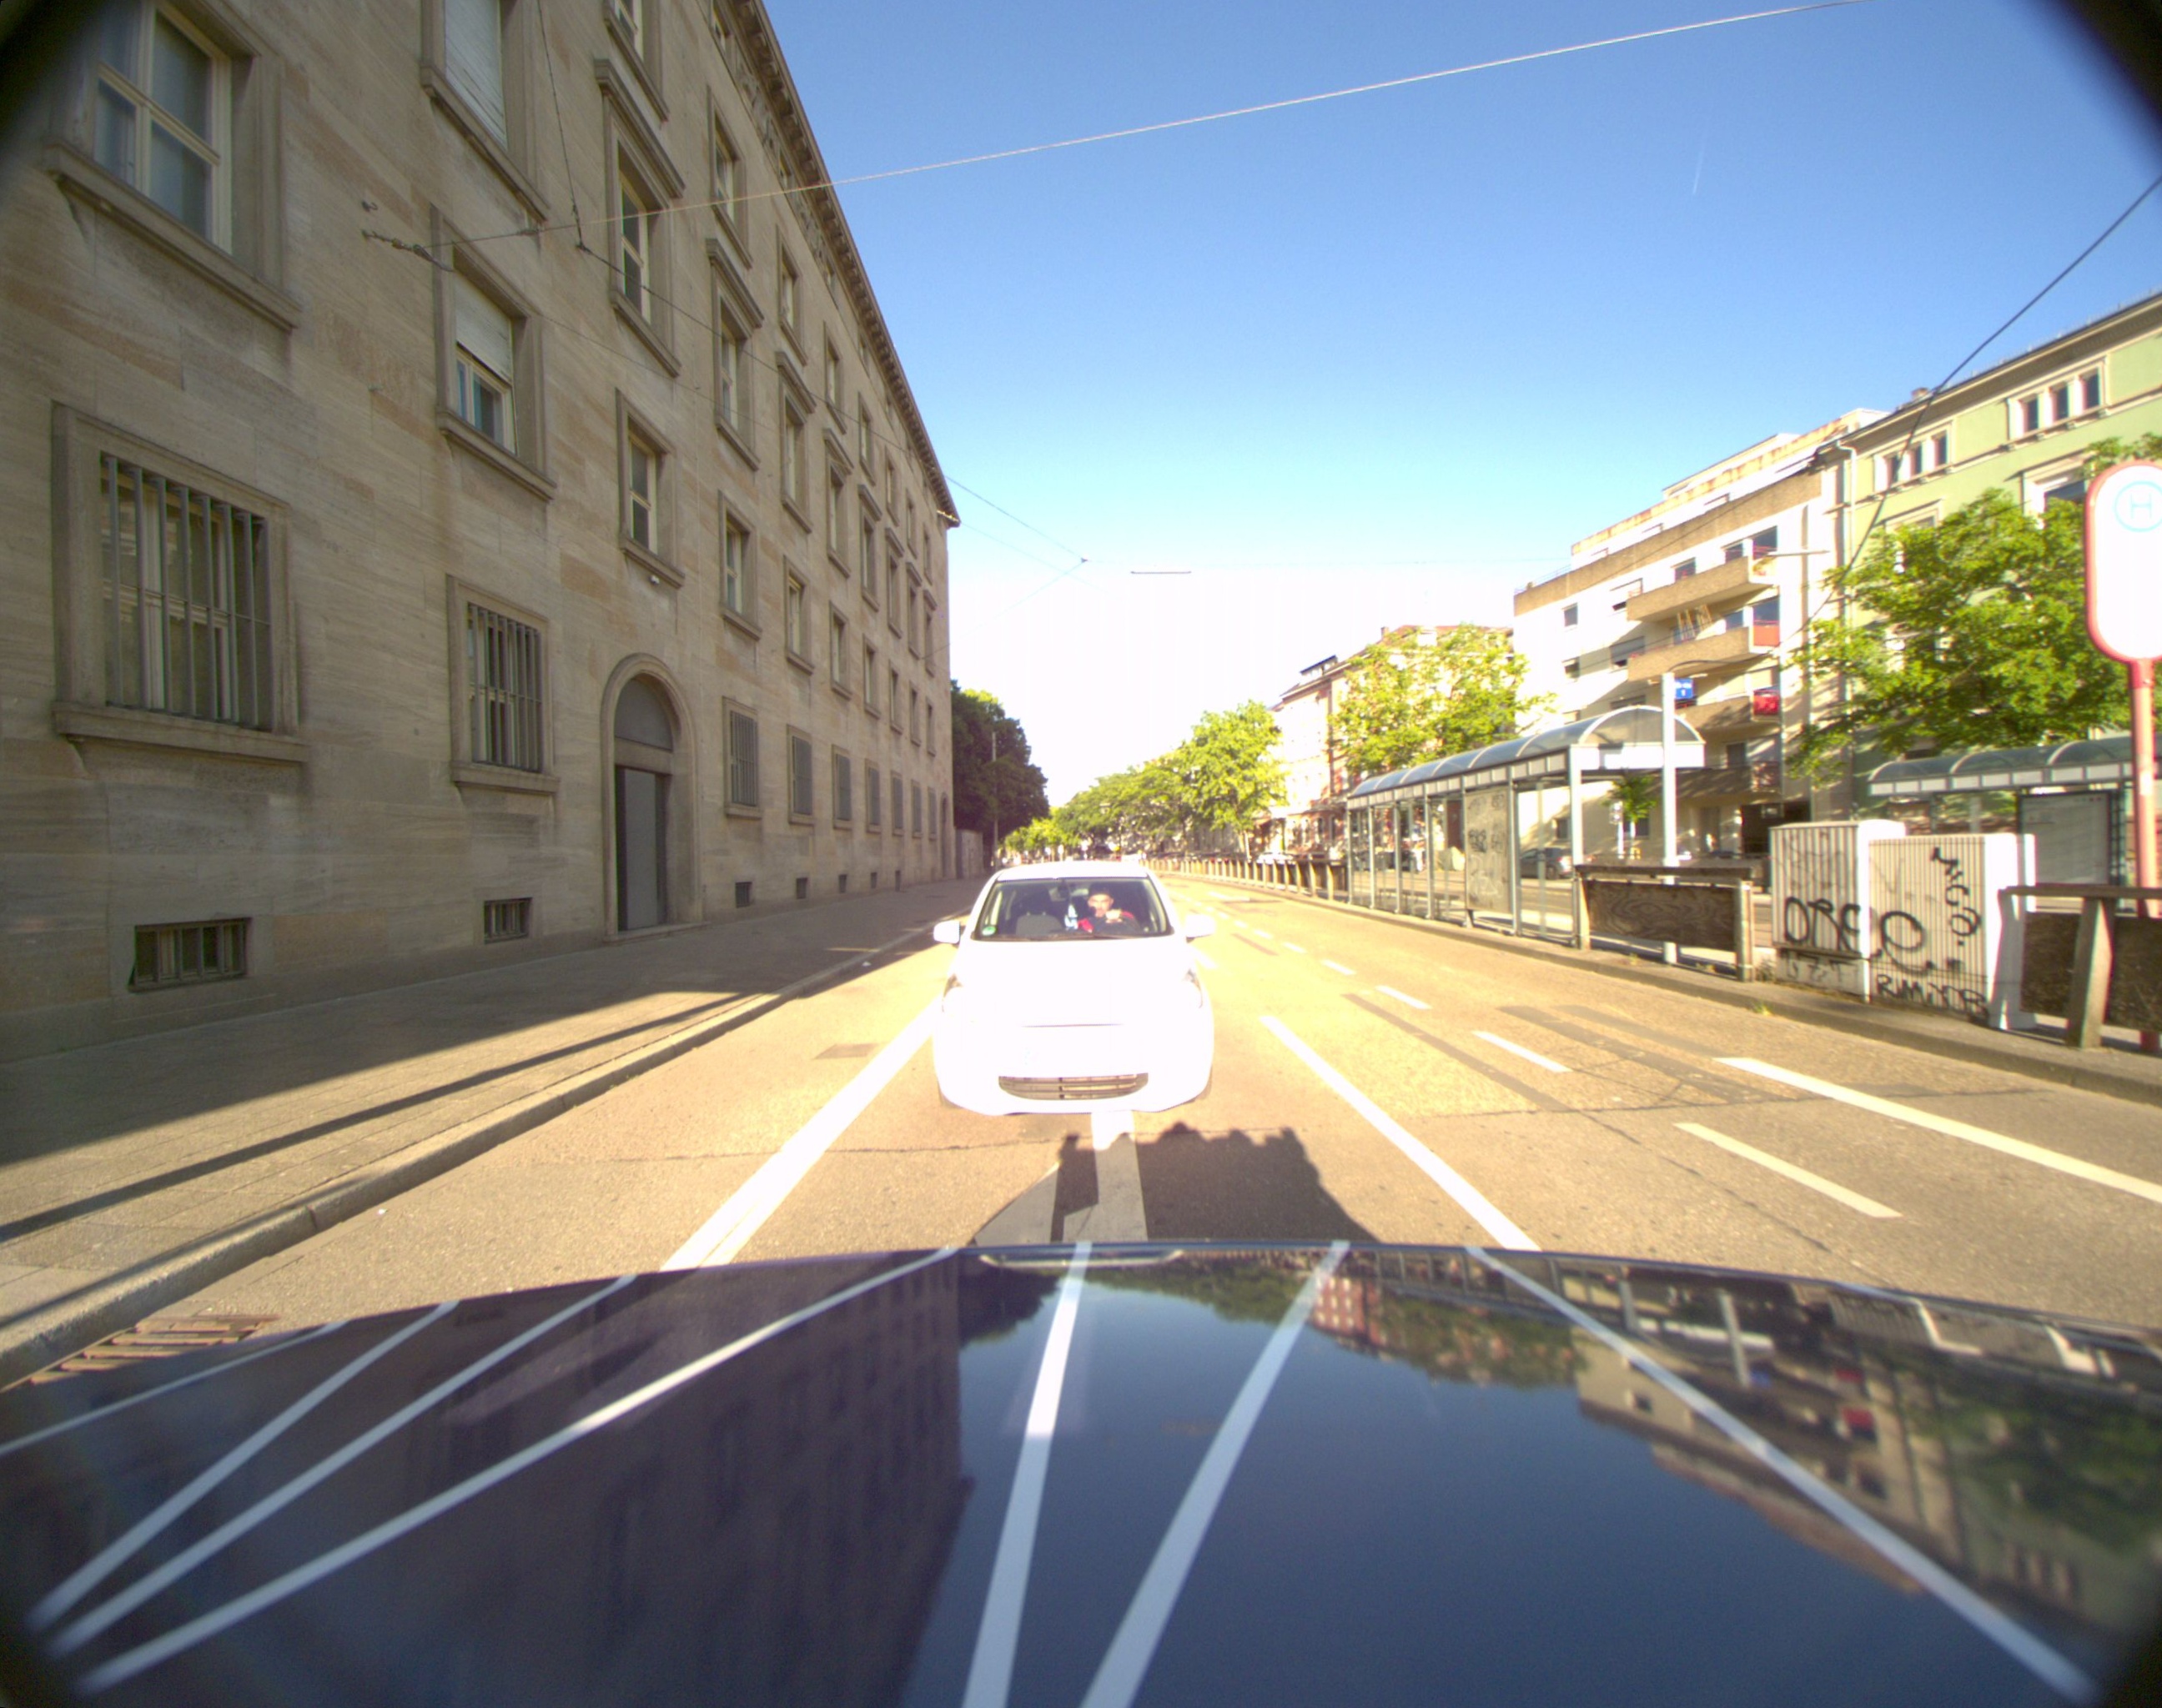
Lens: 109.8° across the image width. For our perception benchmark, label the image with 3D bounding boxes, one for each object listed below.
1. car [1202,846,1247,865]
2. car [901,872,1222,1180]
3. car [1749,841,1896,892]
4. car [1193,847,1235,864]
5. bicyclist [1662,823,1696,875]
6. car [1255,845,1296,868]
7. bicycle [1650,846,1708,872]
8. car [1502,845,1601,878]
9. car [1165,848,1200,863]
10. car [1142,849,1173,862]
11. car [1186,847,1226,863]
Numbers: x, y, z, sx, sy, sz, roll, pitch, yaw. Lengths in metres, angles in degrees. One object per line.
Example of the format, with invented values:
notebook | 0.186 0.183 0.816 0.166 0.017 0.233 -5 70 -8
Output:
car | 13.650 0.136 72.600 3.996 1.674 2.000 -1 0 4
car | -0.072 0.926 5.708 1.612 1.450 3.667 -1 0 1
car | 23.943 0.374 24.557 3.796 1.526 1.772 -1 0 -17
car | 13.364 0.121 76.734 3.996 1.674 2.000 -1 0 4
bicyclist | 20.590 -0.171 26.184 0.536 1.752 0.770 -1 4 1
car | 16.317 0.171 63.684 1.994 1.713 4.007 0 2 34
bicycle | 20.598 0.171 26.224 0.536 0.783 1.852 -1 3 1
car | 20.855 0.321 33.841 1.615 1.387 3.516 -1 0 -19
car | 11.451 0.153 86.097 3.864 1.583 2.001 -1 0 5
car | 9.580 0.140 95.723 3.864 1.583 2.001 -1 0 4
car | 13.172 0.093 80.537 3.996 1.674 2.000 -1 0 4
